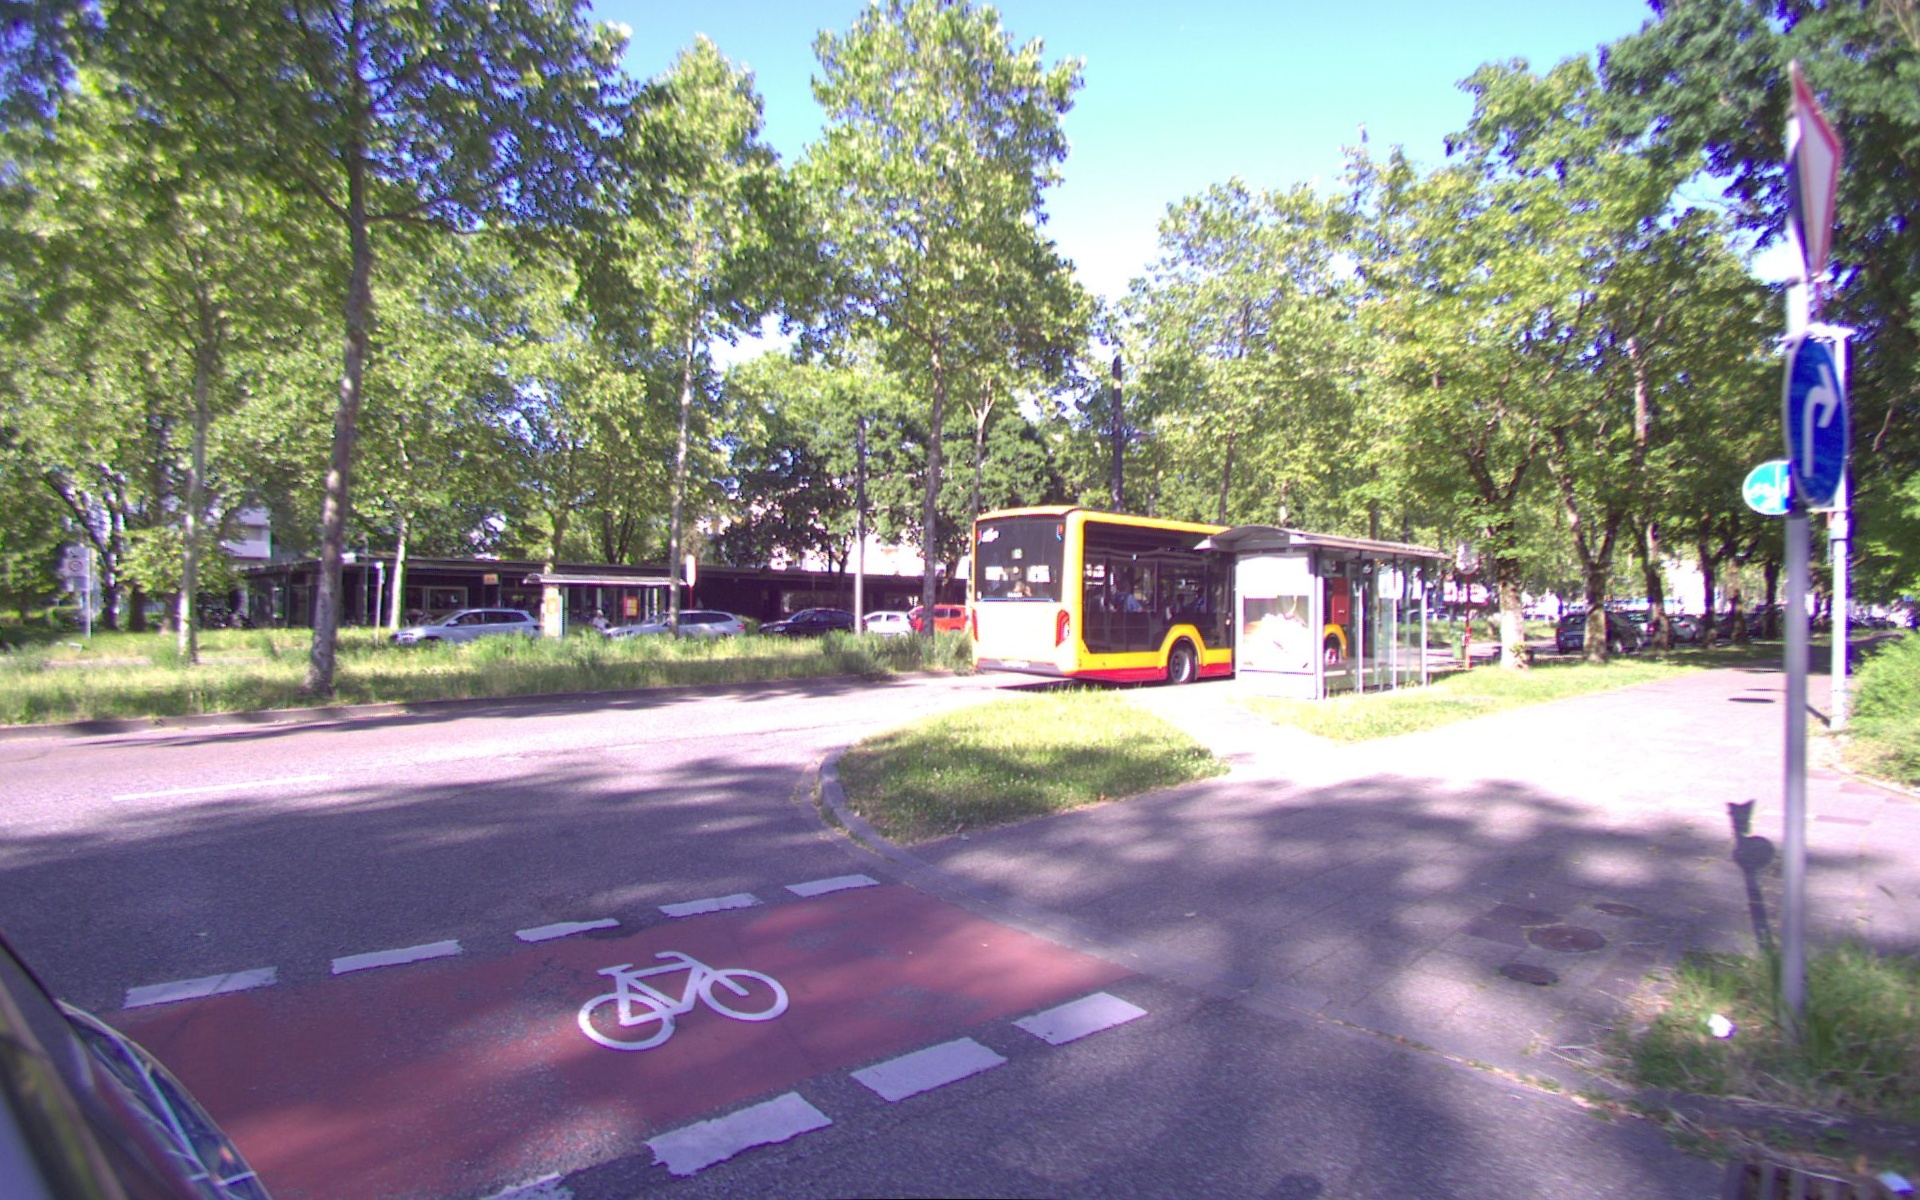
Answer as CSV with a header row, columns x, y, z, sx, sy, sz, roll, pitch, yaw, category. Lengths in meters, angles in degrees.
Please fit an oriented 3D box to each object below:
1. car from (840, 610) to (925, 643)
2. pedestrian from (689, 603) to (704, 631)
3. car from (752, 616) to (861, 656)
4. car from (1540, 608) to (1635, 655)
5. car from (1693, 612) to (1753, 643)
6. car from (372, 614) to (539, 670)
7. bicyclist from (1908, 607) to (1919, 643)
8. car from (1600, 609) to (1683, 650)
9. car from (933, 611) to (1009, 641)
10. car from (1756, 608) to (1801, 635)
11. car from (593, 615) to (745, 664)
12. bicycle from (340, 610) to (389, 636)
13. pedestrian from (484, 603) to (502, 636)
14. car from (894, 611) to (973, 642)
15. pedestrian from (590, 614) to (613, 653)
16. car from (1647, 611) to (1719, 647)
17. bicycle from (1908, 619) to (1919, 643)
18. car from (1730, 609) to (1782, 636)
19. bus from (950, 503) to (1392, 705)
x,y,z,sx,sy,sz,roll,pitch,yaw,category
-3.703,1.265,48.676,3.946,1.522,1.799,0,-1,2,car
-16.070,1.032,61.628,0.650,1.674,0.641,-1,-1,43,pedestrian
-6.073,1.399,40.249,3.937,1.522,1.803,1,-1,-41,car
21.528,1.062,34.670,3.939,1.522,1.802,1,-2,-43,car
38.610,1.382,51.169,3.939,1.522,1.802,1,-2,-43,car
-15.322,1.225,30.856,4.221,1.592,1.802,1,-1,-42,car
45.089,1.167,47.175,1.182,1.674,1.015,-1,-2,40,bicyclist
26.325,1.114,39.052,3.939,1.522,1.802,1,-2,-43,car
0.567,1.364,53.422,3.946,1.522,1.799,0,-1,2,car
54.295,1.412,67.112,3.939,1.689,1.802,1,-2,-43,car
-9.634,1.281,33.798,4.605,1.522,1.801,1,-1,-44,car
-26.437,1.022,44.954,0.555,1.116,1.776,-1,-1,39,bicycle
-24.189,1.017,52.386,0.650,1.674,0.641,-1,-1,43,pedestrian
-1.305,1.326,51.079,3.946,1.522,1.799,0,-1,2,car
-13.761,1.276,38.884,0.640,1.471,0.651,1,-1,-40,pedestrian
31.555,1.258,44.150,3.939,1.522,1.802,1,-2,-43,car
44.927,1.443,47.290,0.758,1.116,1.776,-1,-1,40,bicycle
46.178,1.283,58.692,3.939,1.522,1.802,1,-2,-43,car
5.181,0.144,21.739,12.032,3.291,2.912,1,-1,-43,bus
